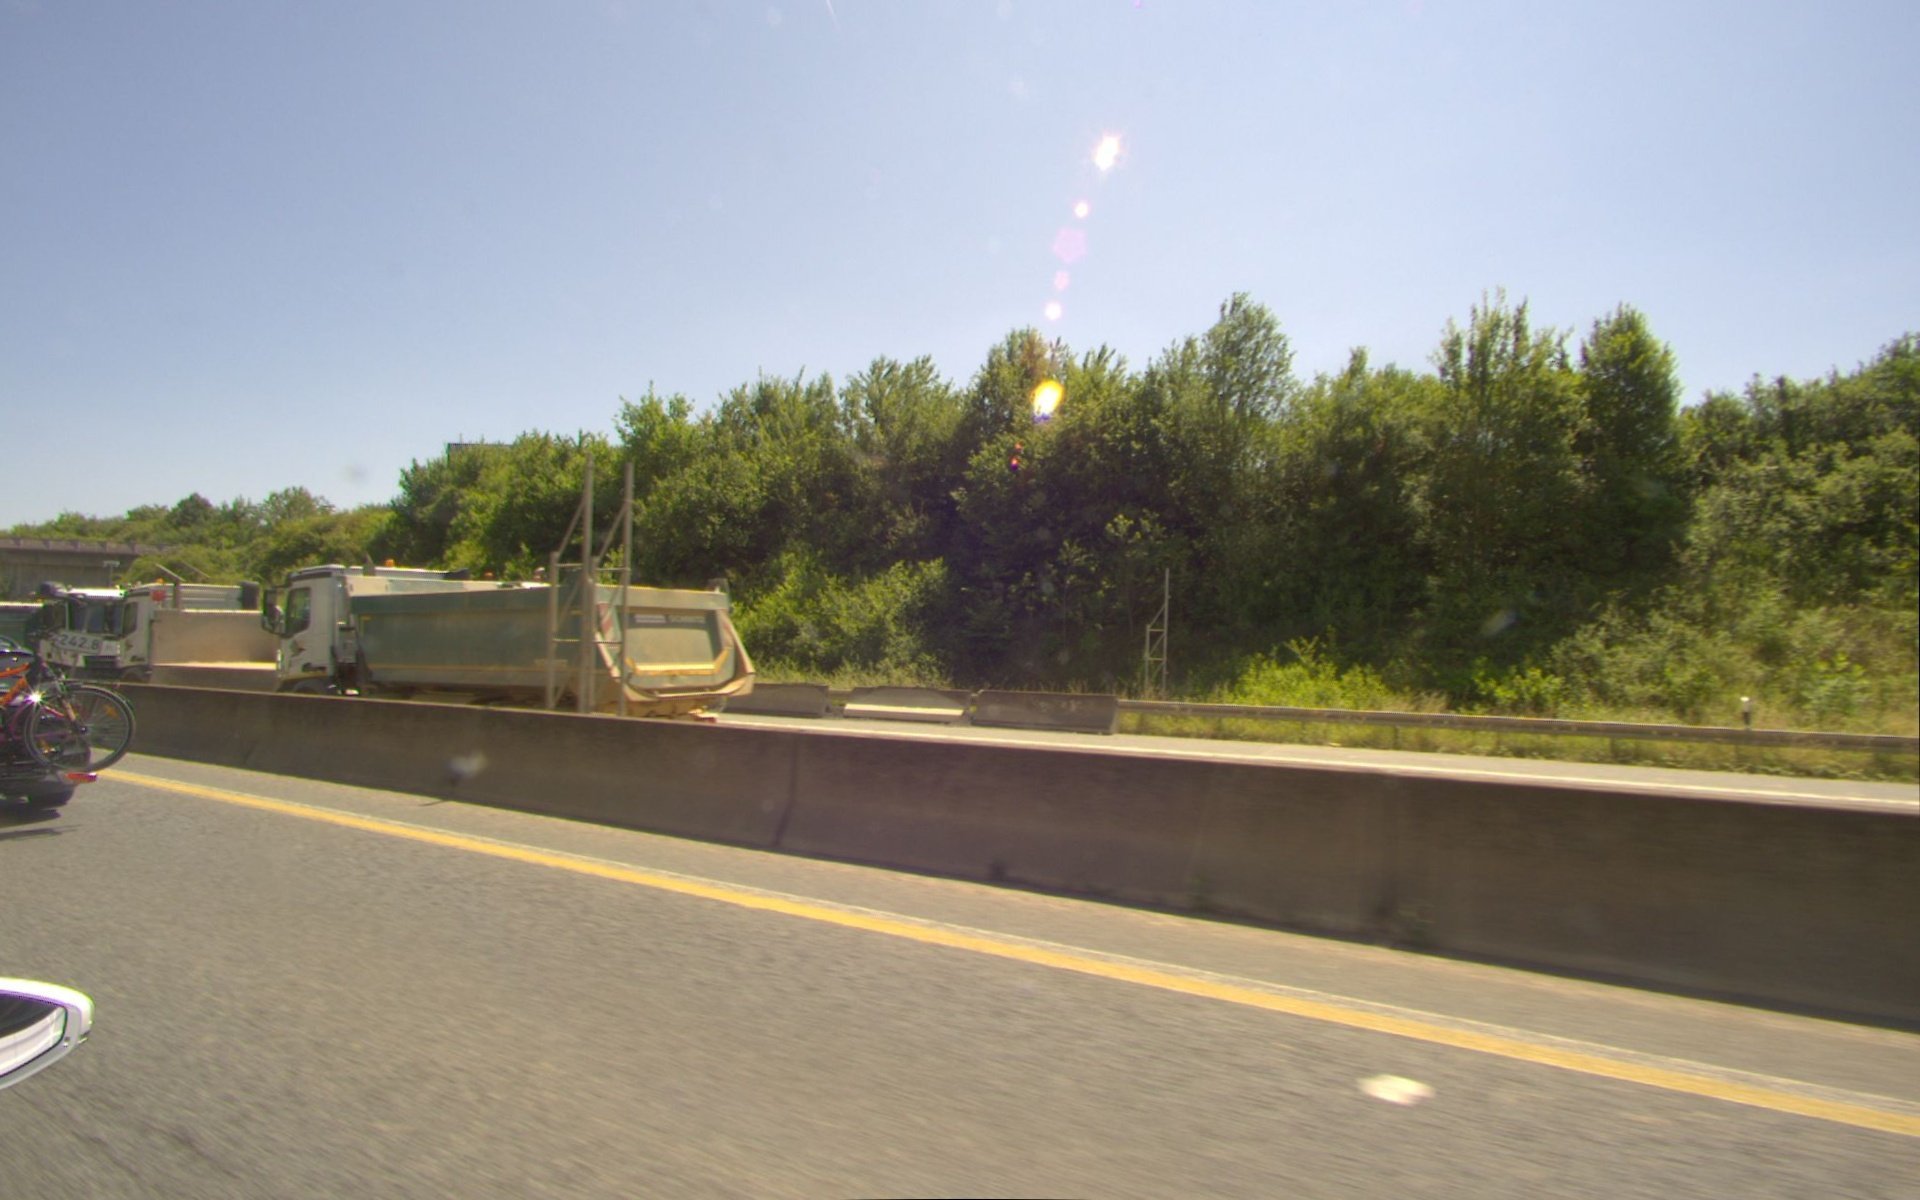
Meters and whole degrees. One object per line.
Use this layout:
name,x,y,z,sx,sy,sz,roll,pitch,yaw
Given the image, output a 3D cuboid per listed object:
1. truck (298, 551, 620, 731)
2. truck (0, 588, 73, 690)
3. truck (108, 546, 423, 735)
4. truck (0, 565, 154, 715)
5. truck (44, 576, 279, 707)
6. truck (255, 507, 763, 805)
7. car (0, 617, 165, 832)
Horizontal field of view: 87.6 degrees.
truck,-11.724,0.907,23.126,8.258,3.556,2.683,-1,-2,32
truck,-37.742,1.448,38.561,9.463,3.602,2.683,-1,-2,32
truck,-15.618,0.853,22.233,8.817,3.556,2.529,-1,-2,33
truck,-25.795,1.060,27.610,9.463,3.602,2.535,-1,-2,32
truck,-25.102,1.239,31.280,9.464,3.602,2.683,-1,-2,32
truck,-7.259,0.758,15.424,8.964,3.556,2.530,-1,-2,32
car,-8.786,0.920,8.344,4.877,1.509,1.896,-1,-2,32
